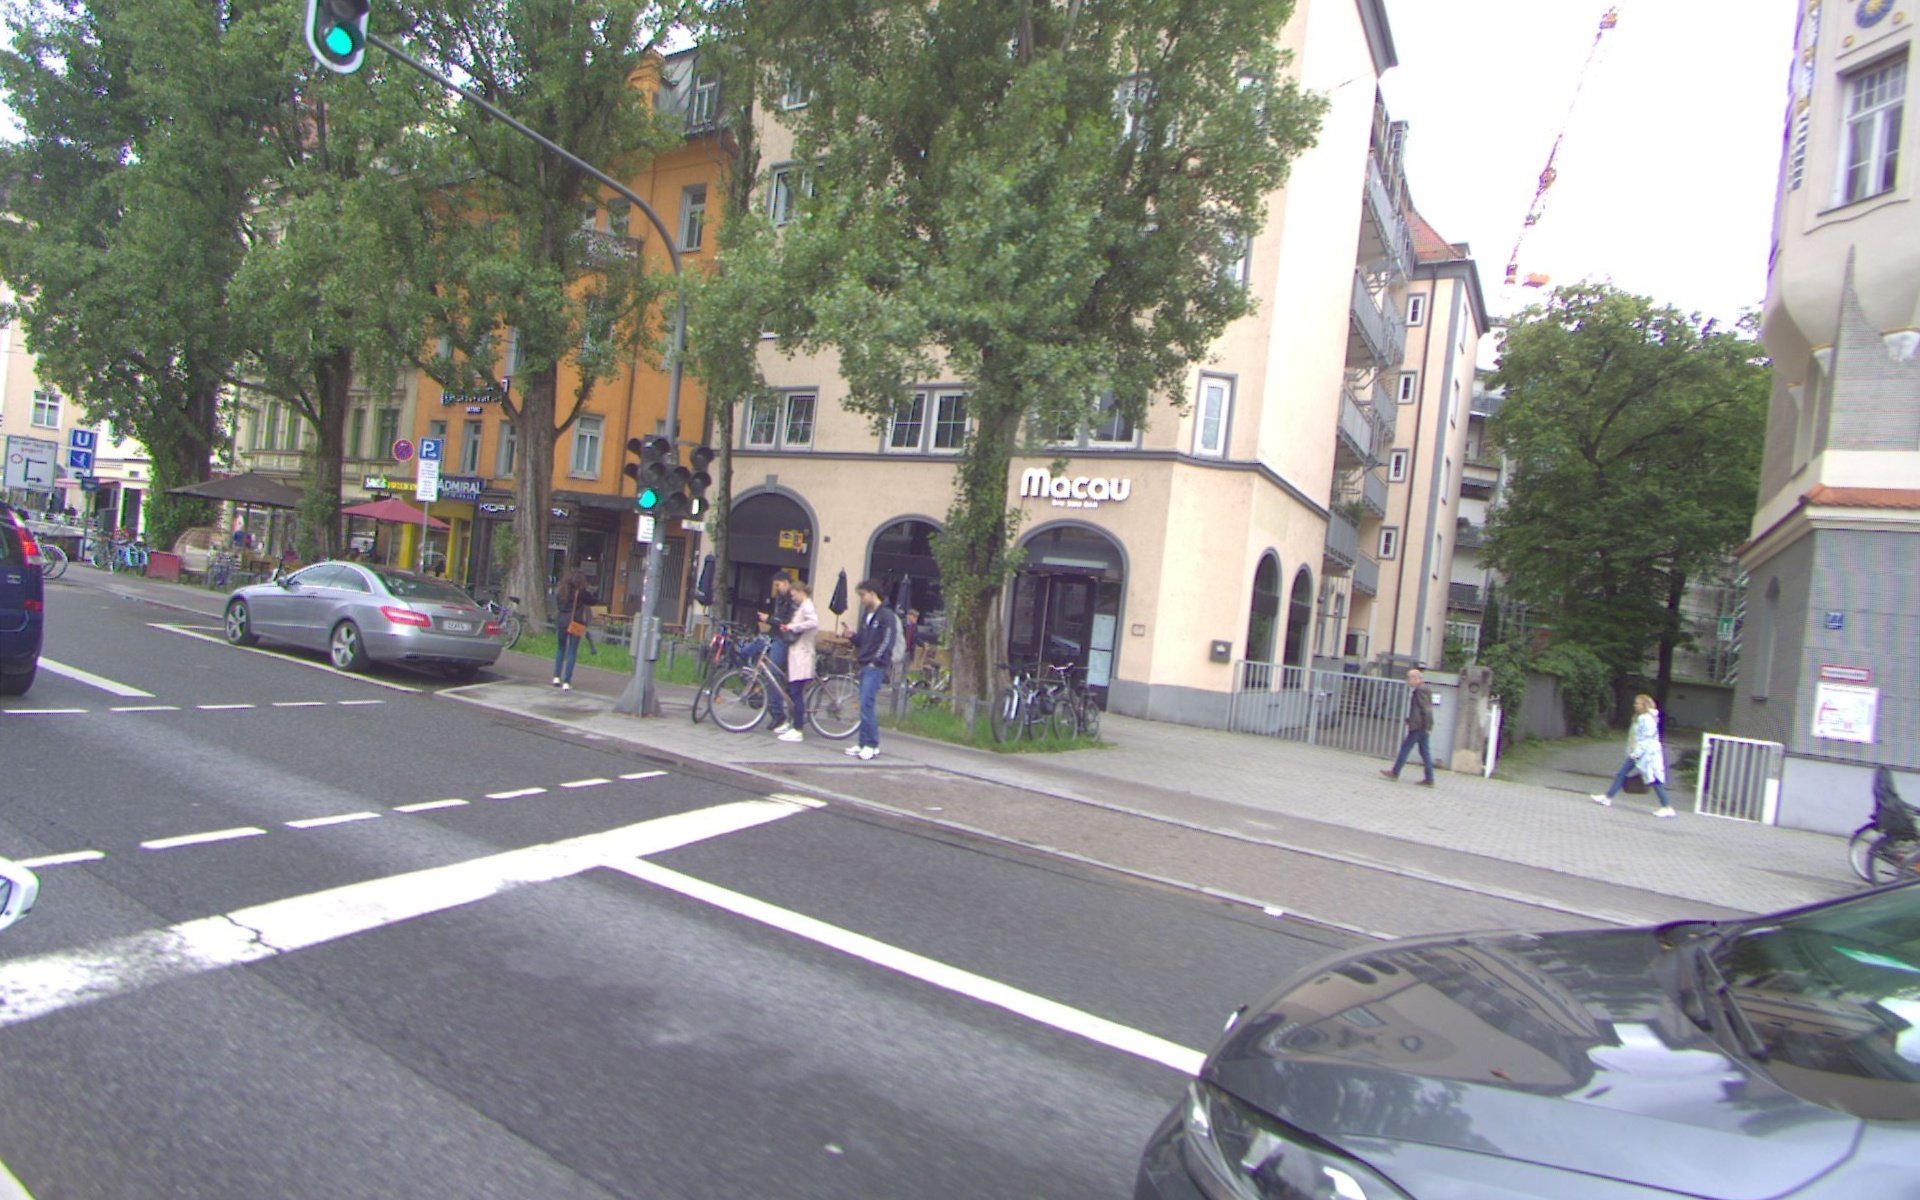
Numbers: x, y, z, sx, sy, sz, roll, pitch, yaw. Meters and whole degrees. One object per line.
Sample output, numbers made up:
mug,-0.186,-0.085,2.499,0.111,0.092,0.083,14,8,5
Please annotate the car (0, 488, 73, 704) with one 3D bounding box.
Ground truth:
car,-8.888,-0.240,8.005,3.497,1.608,1.706,6,-2,32

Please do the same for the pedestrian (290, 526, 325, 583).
pedestrian,-21.169,-1.476,32.623,0.655,1.761,0.601,7,1,32

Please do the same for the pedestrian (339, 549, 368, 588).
pedestrian,-21.850,-1.129,36.255,0.573,1.296,0.584,7,1,31

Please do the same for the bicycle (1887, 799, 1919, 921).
bicycle,9.072,2.371,8.410,0.441,1.035,1.825,7,-1,-31

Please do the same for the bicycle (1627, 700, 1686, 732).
bicycle,32.522,5.421,47.001,2.092,1.138,0.815,6,0,32

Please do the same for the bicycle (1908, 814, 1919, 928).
bicycle,8.750,2.302,7.869,0.441,1.035,1.825,7,-1,-31

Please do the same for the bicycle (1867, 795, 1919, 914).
bicycle,9.407,2.443,8.991,0.388,1.035,1.825,7,-1,-31

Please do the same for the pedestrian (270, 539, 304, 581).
pedestrian,-21.498,-1.287,32.146,0.655,1.237,0.601,7,0,32

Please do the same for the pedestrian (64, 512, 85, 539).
pedestrian,-43.549,-3.664,49.475,0.691,1.196,0.515,7,1,30

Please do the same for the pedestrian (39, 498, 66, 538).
pedestrian,-39.970,-3.601,44.292,0.666,1.653,0.615,7,1,32

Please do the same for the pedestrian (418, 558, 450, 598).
pedestrian,-17.518,-0.730,33.500,0.573,1.233,0.623,7,0,31

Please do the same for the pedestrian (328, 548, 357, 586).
pedestrian,-22.537,-1.205,36.706,0.573,1.296,0.584,7,1,31

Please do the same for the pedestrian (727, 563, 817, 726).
pedestrian,-2.214,0.513,11.808,0.693,1.802,0.647,7,0,-25

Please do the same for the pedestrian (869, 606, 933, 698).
pedestrian,-1.129,0.975,19.201,0.837,1.622,0.819,6,1,-22

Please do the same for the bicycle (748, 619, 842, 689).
bicycle,-2.903,0.984,17.902,0.440,1.123,1.799,7,-1,33

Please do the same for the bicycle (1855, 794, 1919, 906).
bicycle,9.721,2.509,9.476,0.388,0.990,1.825,7,-1,-31

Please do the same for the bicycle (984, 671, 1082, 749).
bicycle,1.012,1.472,13.433,0.386,0.927,1.836,6,-2,33

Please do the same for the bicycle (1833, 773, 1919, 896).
bicycle,10.533,2.601,10.731,0.457,1.168,1.884,7,-1,-10

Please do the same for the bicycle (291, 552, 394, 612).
bicycle,-14.404,-0.403,23.520,0.573,1.188,1.889,7,0,33

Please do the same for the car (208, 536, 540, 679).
car,-8.289,0.089,14.156,4.452,1.458,1.997,6,0,30

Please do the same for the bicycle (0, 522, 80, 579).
bicycle,-20.133,-1.083,21.650,1.811,1.008,0.375,8,0,-8

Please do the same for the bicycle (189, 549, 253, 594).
bicycle,-17.554,-0.682,23.882,1.862,0.903,0.457,6,0,31

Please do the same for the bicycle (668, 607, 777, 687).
bicycle,-3.823,0.786,16.342,0.440,1.122,1.801,7,-3,33

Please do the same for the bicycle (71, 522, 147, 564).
bicycle,-26.555,-1.776,31.408,0.380,1.058,1.727,8,0,25

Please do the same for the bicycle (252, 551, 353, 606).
bicycle,-15.329,-0.487,23.508,0.451,1.066,1.889,7,0,33

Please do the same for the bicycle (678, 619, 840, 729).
bicycle,-2.341,0.876,11.774,1.722,1.116,0.357,7,1,-24

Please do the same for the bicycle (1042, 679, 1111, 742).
bicycle,1.764,1.646,15.017,0.385,0.845,1.576,6,-2,29

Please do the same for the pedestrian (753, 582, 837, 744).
pedestrian,-1.832,0.678,11.129,0.690,1.658,0.754,7,0,-12

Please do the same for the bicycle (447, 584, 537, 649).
bicycle,-8.408,0.284,18.058,1.626,0.977,0.590,6,0,32

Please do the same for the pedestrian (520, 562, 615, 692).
pedestrian,-5.191,0.358,13.351,0.748,1.582,0.763,7,0,5

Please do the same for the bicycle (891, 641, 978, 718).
bicycle,-0.360,1.210,15.083,0.386,1.062,1.574,6,-2,32

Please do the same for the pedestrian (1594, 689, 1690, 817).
pedestrian,10.289,2.276,15.225,1.000,1.735,0.746,7,1,32

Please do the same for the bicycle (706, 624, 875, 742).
bicycle,-1.866,0.920,11.137,1.717,1.116,0.358,7,1,-13

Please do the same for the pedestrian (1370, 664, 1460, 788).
pedestrian,6.950,1.891,15.358,1.000,1.706,0.746,7,1,32

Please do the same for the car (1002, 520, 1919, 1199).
car,2.491,0.986,1.059,4.631,1.667,1.773,6,0,33

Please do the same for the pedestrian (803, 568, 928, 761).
pedestrian,-0.958,0.657,10.379,0.742,1.823,0.882,8,0,22

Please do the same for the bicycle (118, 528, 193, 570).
bicycle,-25.373,-1.596,31.747,0.382,1.058,1.720,8,0,42

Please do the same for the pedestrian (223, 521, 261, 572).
pedestrian,-25.442,-1.893,35.643,0.773,1.653,0.711,7,1,32
